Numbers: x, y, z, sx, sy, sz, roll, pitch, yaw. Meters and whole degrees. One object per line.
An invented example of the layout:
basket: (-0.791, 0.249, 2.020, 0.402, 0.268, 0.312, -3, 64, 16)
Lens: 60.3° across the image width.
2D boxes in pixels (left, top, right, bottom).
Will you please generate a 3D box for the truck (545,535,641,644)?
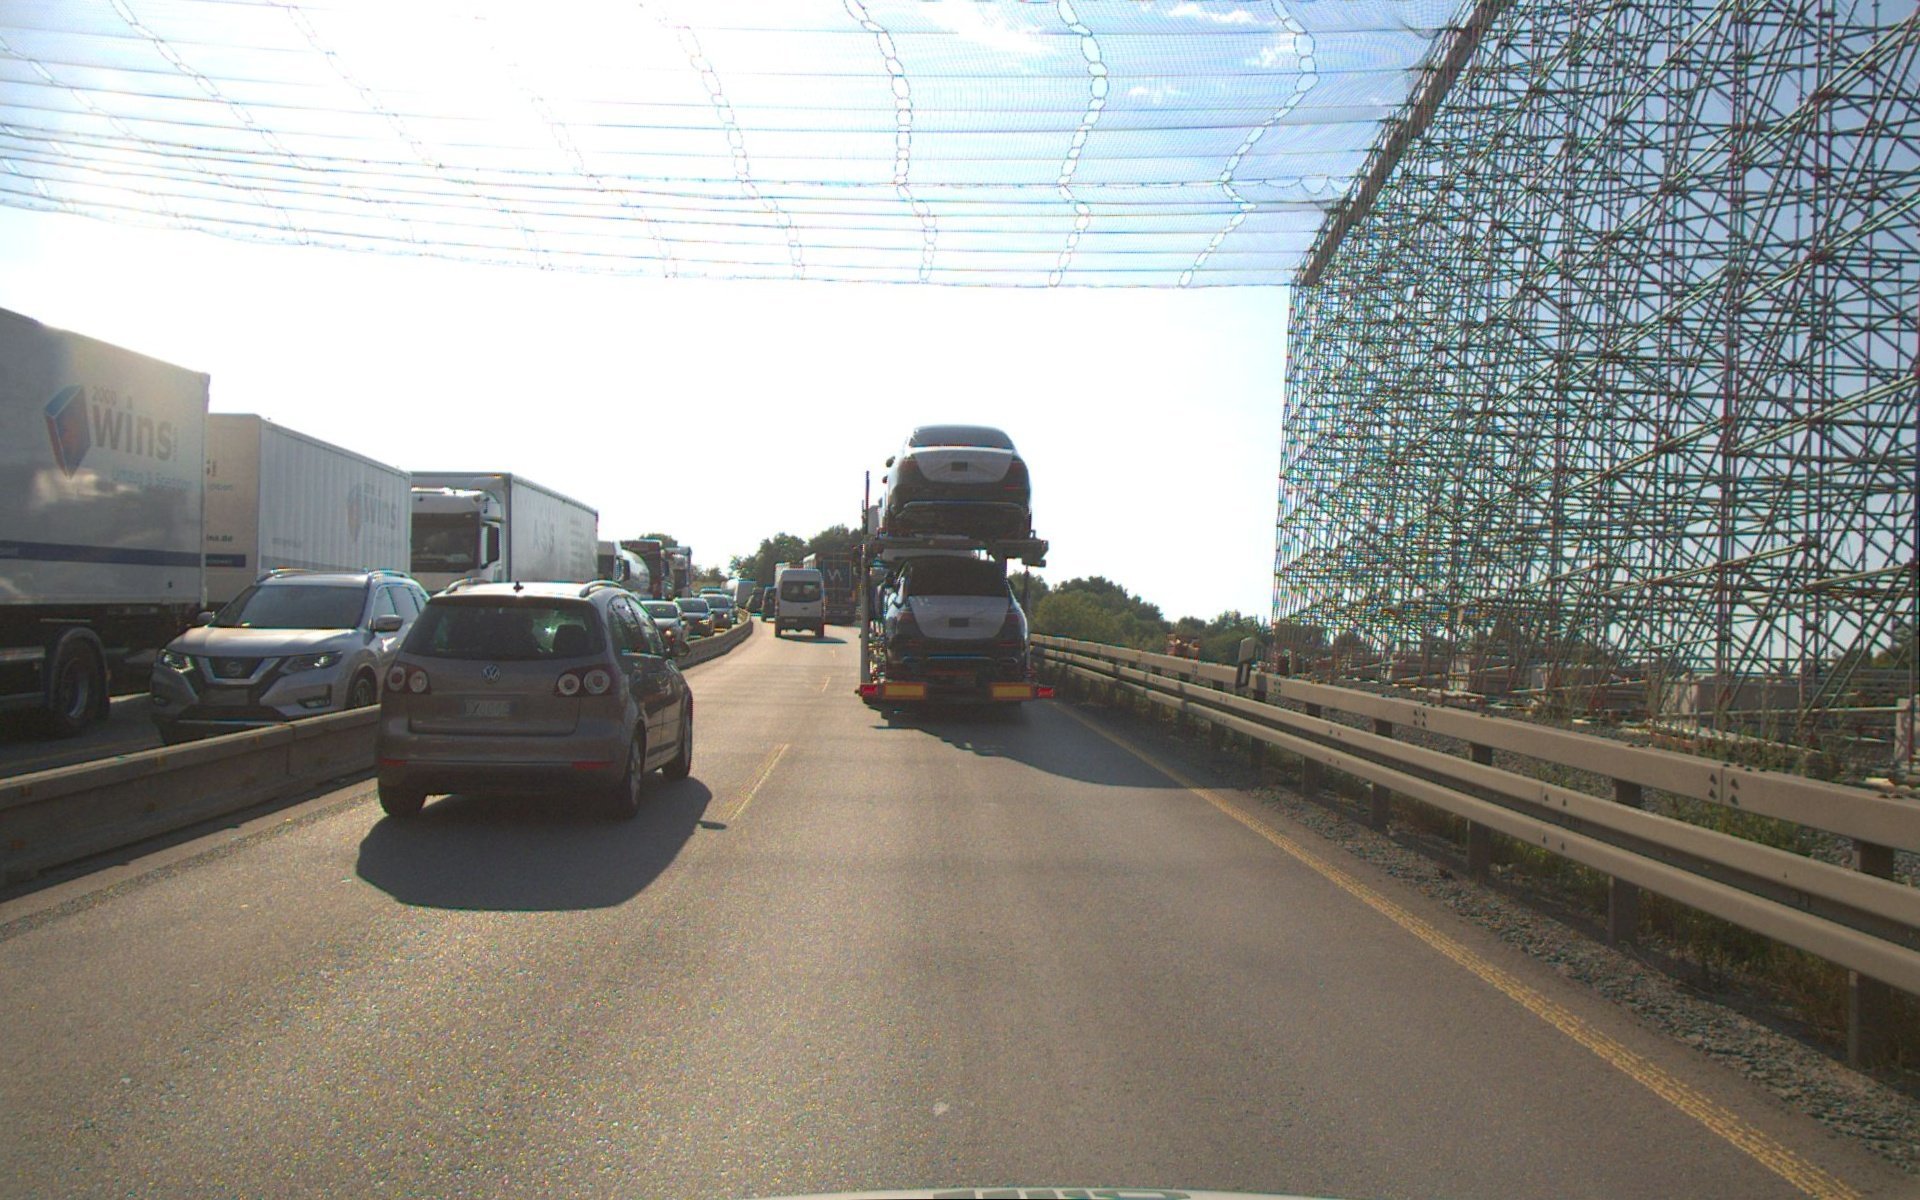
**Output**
truck: (-12.229, -0.330, 55.549, 2.367, 3.429, 5.611, 1, 0, -5)

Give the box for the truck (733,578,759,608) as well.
truck: (-23.980, -0.729, 185.191, 2.543, 3.226, 6.662, 1, 0, -9)

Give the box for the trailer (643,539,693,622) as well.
trailer: (-16.535, -1.036, 94.140, 2.430, 4.404, 10.490, 1, 0, -9)

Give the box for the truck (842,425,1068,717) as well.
truck: (-0.316, -0.328, 25.688, 2.743, 3.558, 10.599, 1, 0, -3)

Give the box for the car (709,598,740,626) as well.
car: (-12.626, 0.616, 88.662, 1.597, 1.451, 4.380, 1, 0, -8)

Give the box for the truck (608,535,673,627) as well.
truck: (-13.952, -0.778, 72.493, 2.386, 3.851, 5.608, 1, 0, -8)

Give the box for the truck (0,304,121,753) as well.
truck: (-9.744, -0.651, 13.265, 2.578, 3.978, 7.200, 1, 0, -3)

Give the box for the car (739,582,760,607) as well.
car: (-17.979, -0.478, 141.233, 1.600, 2.049, 3.991, 1, 0, -9)

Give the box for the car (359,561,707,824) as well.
car: (-2.984, 0.592, 12.396, 1.657, 1.624, 3.998, 1, 0, -2)

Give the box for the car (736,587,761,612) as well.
car: (-15.636, -0.020, 122.181, 1.792, 1.803, 3.993, 1, 0, -7)

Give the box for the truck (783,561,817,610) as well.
truck: (-12.846, -1.096, 132.085, 2.482, 3.712, 8.892, 1, 0, -7)

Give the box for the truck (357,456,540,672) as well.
truck: (-10.528, -0.681, 34.593, 2.425, 4.116, 5.611, 1, 0, -5)

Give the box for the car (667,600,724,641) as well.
car: (-9.652, 0.748, 60.511, 1.759, 1.422, 4.238, 1, 0, -6)

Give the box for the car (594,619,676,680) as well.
car: (-8.175, 1.221, 41.832, 1.576, 1.400, 3.897, 1, 0, -5)

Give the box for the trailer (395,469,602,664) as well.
trailer: (-11.158, -0.671, 41.580, 2.380, 4.032, 14.083, 1, 0, -5)

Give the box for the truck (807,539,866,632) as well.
truck: (-7.600, -0.841, 100.979, 3.223, 5.328, 9.922, 1, 0, -6)

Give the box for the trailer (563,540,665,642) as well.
trailer: (-12.770, -0.293, 62.002, 2.262, 3.420, 12.039, 1, 0, -5)

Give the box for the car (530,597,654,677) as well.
car: (-7.324, 0.704, 33.345, 1.742, 1.475, 4.659, 1, 0, -4)

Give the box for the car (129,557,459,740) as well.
car: (-6.546, 0.443, 16.814, 1.772, 1.595, 4.363, 1, 0, -3)

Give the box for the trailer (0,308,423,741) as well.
trailer: (-10.338, -0.707, 22.229, 2.617, 4.086, 13.323, 1, 0, -4)

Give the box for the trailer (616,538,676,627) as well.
trailer: (-14.781, -0.762, 78.457, 2.264, 3.856, 12.028, 1, 0, -8)

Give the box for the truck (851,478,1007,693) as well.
truck: (-0.810, -0.241, 35.082, 2.781, 3.858, 9.980, 1, 0, -3)

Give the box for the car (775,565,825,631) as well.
car: (-6.454, -0.078, 66.703, 1.883, 2.536, 5.402, 1, 0, -6)

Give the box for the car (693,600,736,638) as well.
car: (-10.689, 0.818, 72.275, 1.717, 1.614, 3.936, 1, 0, -7)
